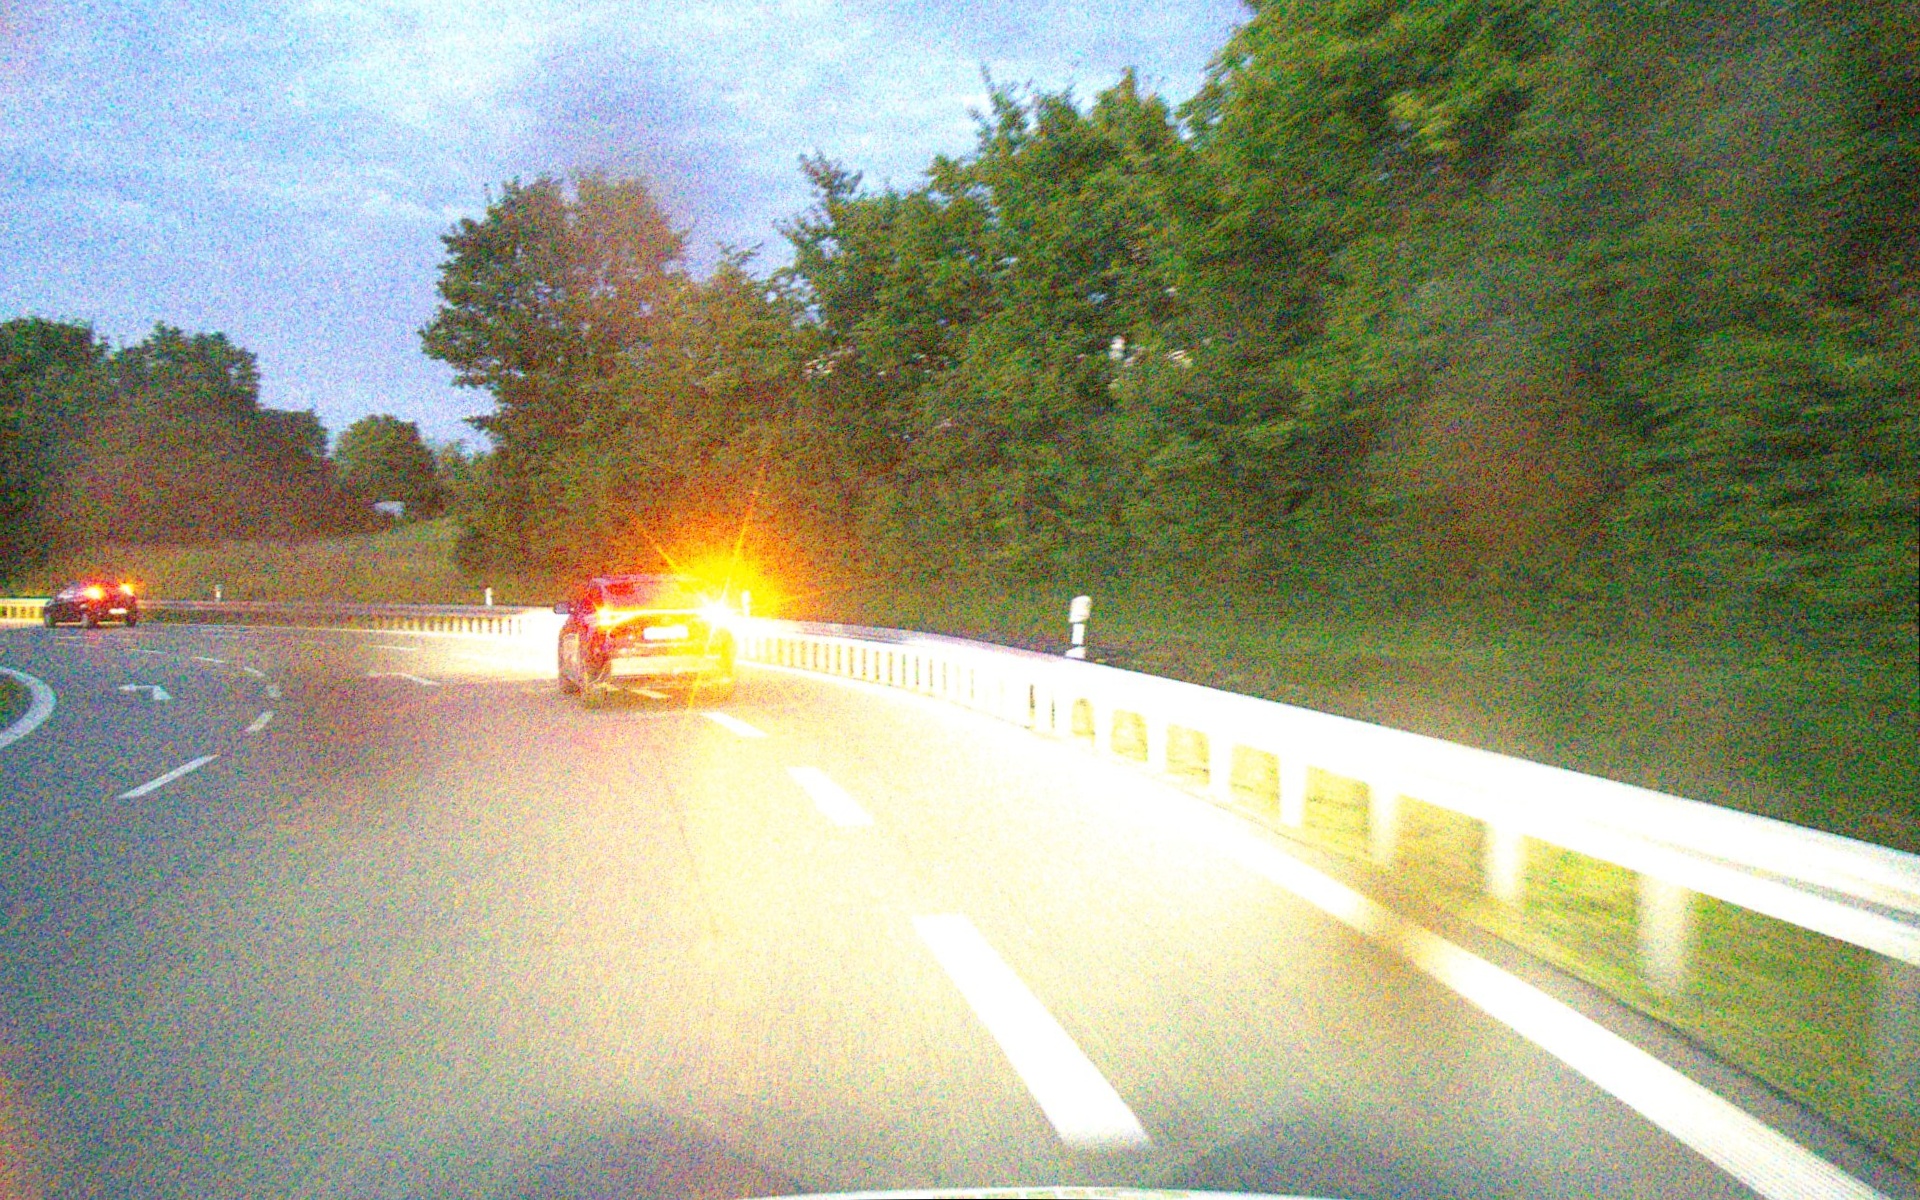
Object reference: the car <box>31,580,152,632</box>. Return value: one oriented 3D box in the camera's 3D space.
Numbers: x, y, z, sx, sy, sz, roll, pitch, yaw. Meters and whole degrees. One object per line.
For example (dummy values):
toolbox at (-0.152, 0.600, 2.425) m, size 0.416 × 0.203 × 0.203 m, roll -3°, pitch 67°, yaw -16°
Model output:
car at (-29.391, 0.190, 55.964) m, size 3.918 × 1.626 × 1.993 m, roll 2°, pitch 0°, yaw 34°

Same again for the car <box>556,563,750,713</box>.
car at (-4.089, 0.422, 21.491) m, size 1.962 × 1.688 × 4.294 m, roll -2°, pitch 1°, yaw -17°
